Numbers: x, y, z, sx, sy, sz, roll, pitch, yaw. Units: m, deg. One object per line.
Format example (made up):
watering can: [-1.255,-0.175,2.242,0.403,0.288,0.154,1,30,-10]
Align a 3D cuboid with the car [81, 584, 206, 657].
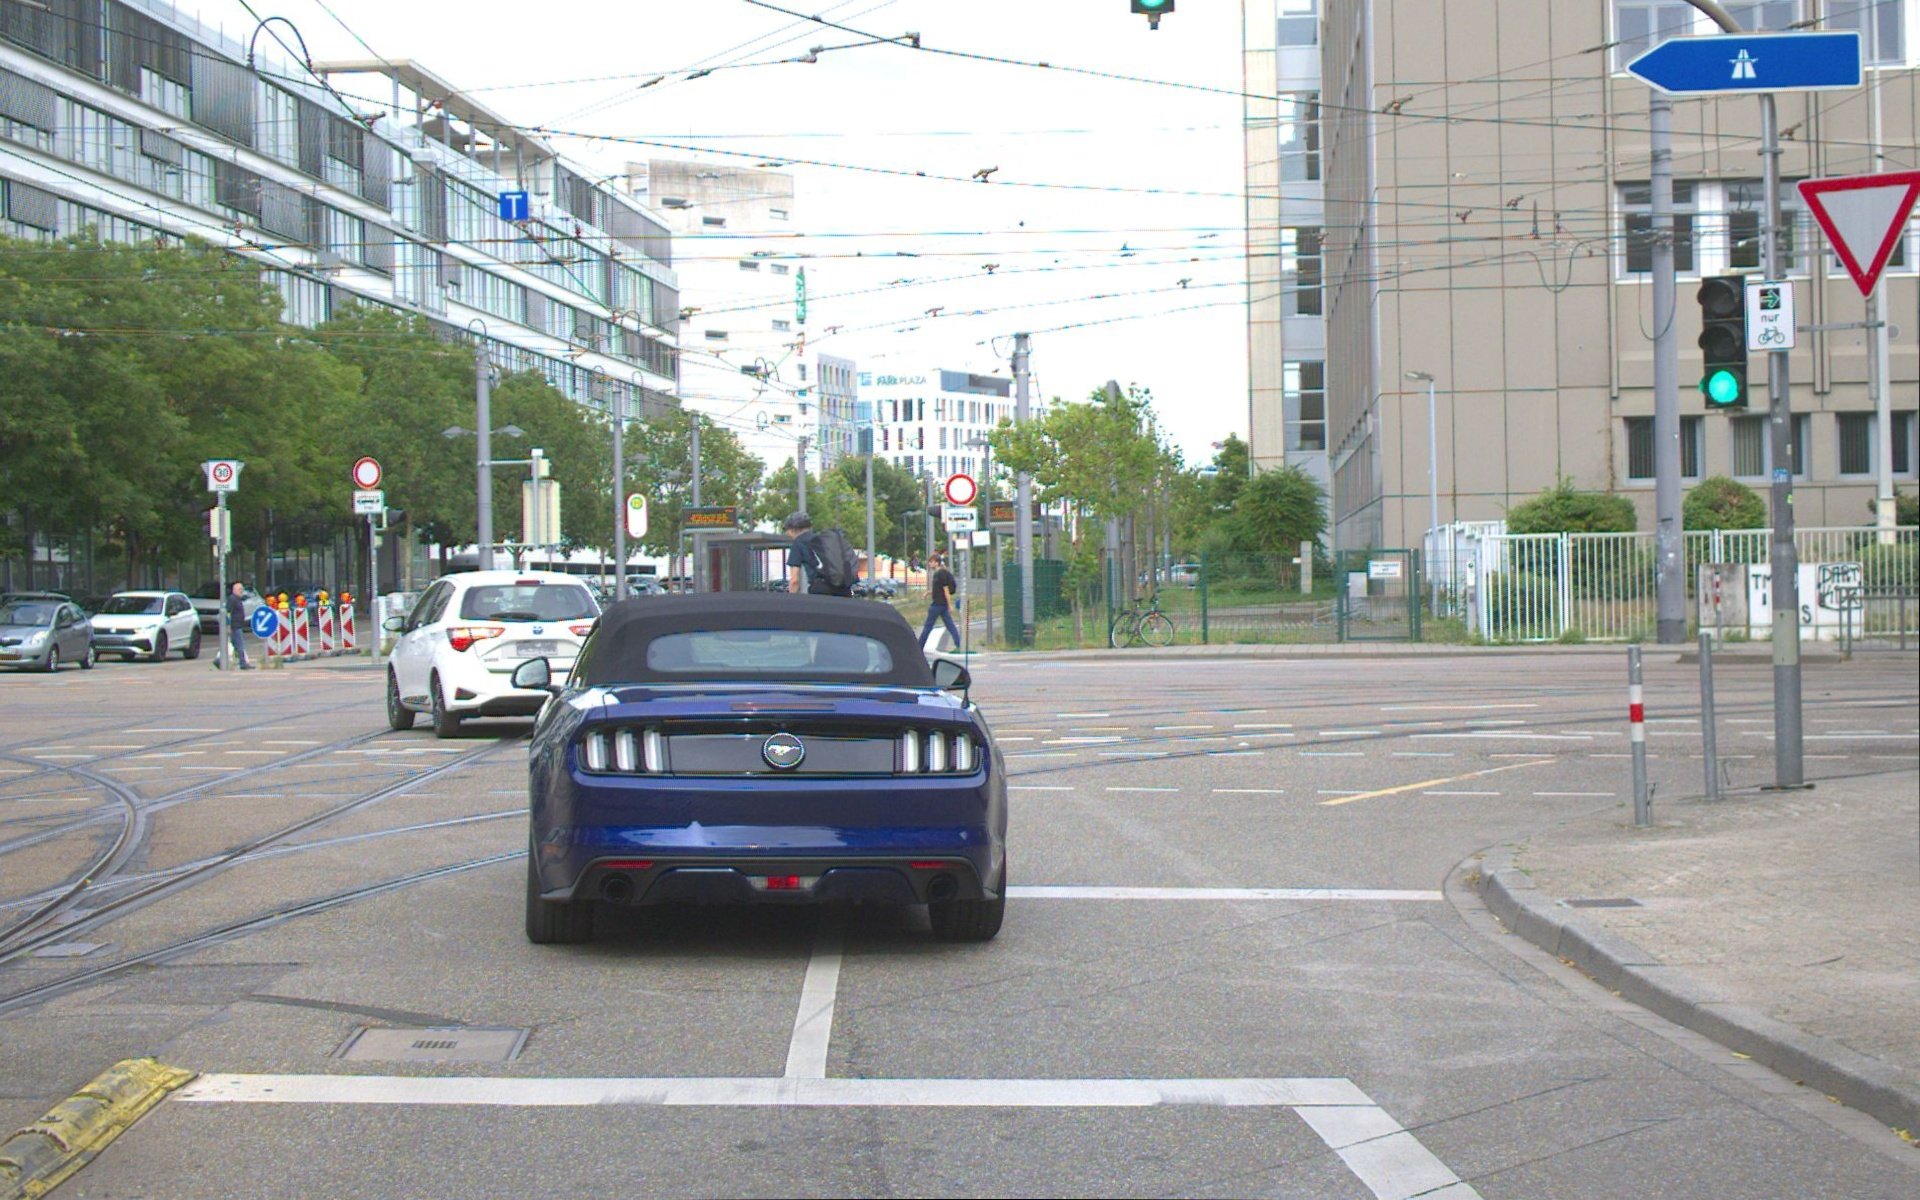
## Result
car: [-19.388,0.471,81.792,1.715,1.654,4.132,1,1,4]

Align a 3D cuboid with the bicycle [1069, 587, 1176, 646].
bicycle: [3.017,0.317,63.990,0.632,0.977,2.157,-1,-2,-42]

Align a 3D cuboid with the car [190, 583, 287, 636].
car: [-22.581,0.283,107.722,1.986,1.551,4.512,1,1,1]

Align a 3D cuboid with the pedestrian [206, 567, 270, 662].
pedestrian: [-14.303,0.275,68.139,0.989,1.849,0.902,-1,0,3]

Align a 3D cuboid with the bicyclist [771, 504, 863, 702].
bicyclist: [-1.319,0.021,31.719,0.796,1.779,1.233,-1,0,-2]

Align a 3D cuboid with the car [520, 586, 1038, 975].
car: [-0.926,0.652,14.742,1.875,1.399,4.283,0,0,-8]

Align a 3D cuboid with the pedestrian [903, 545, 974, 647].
pedestrian: [-0.399,-0.077,64.401,1.086,1.892,0.901,-1,0,14]

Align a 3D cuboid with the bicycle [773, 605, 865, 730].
bicycle: [-1.297,0.606,31.867,0.800,1.083,2.132,-1,0,-2]

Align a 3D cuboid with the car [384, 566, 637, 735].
car: [-4.284,0.434,32.260,1.834,1.434,4.188,-1,0,-14]

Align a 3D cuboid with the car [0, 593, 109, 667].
car: [-19.912,0.632,74.383,1.668,1.501,4.234,1,1,4]

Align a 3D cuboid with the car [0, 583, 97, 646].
car: [-24.052,0.362,89.546,1.830,1.551,4.216,1,1,4]

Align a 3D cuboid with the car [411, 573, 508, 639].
car: [-12.861,0.130,88.535,1.879,1.623,4.087,-1,0,0]

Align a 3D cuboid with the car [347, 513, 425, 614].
car: [-21.127,-1.351,126.723,1.986,3.624,4.512,1,1,1]
